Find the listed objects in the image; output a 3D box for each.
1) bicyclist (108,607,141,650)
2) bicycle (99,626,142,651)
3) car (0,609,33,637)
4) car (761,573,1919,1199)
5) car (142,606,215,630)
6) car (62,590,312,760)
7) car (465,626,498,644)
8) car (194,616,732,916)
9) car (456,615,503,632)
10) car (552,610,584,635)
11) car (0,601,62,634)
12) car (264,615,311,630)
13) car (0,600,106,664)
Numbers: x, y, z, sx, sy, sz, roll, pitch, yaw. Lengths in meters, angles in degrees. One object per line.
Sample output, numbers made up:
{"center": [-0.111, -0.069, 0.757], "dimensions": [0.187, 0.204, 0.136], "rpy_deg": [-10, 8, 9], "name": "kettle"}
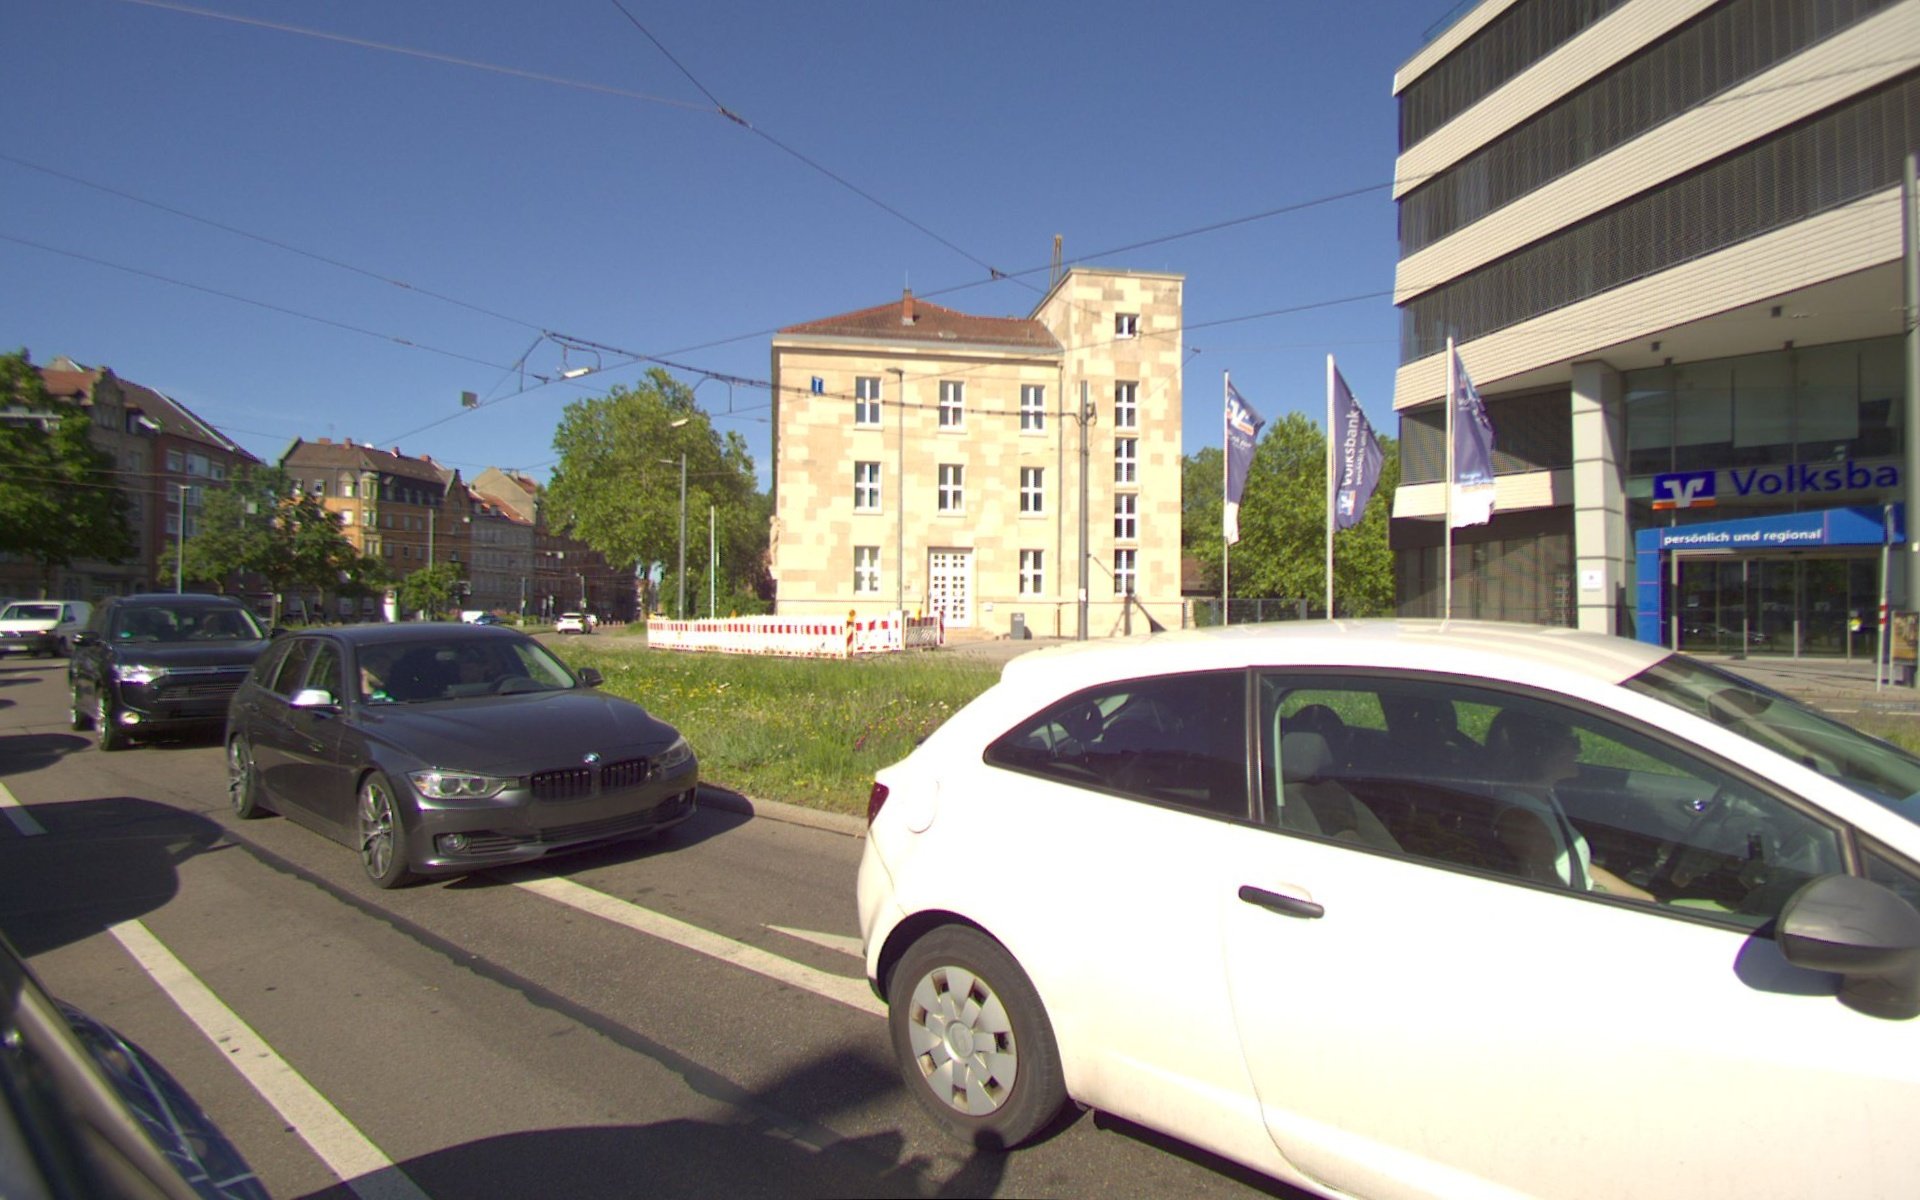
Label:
{"center": [-40.004, 1.359, 48.461], "dimensions": [0.835, 2.029, 1.200], "rpy_deg": [0, -1, -19], "name": "bicyclist"}
{"center": [-39.977, 1.814, 48.238], "dimensions": [0.751, 1.153, 2.290], "rpy_deg": [0, -1, -18], "name": "bicycle"}
{"center": [-48.767, 1.148, 50.392], "dimensions": [3.768, 1.390, 1.602], "rpy_deg": [2, -2, -41], "name": "car"}
{"center": [1.480, 0.691, 2.487], "dimensions": [4.020, 1.452, 1.714], "rpy_deg": [0, 2, 40], "name": "car"}
{"center": [-53.933, 1.269, 69.880], "dimensions": [3.771, 1.603, 1.601], "rpy_deg": [2, -2, -44], "name": "car"}
{"center": [-9.382, 0.769, 12.137], "dimensions": [1.817, 1.658, 4.400], "rpy_deg": [-1, -1, -45], "name": "car"}
{"center": [-46.849, 3.452, 99.143], "dimensions": [1.811, 1.659, 4.157], "rpy_deg": [1, -1, -10], "name": "car"}
{"center": [-3.599, 0.824, 6.886], "dimensions": [4.424, 1.377, 1.719], "rpy_deg": [-1, 0, 41], "name": "car"}
{"center": [-54.985, 2.705, 115.873], "dimensions": [4.525, 1.889, 2.001], "rpy_deg": [-1, 0, -1], "name": "car"}
{"center": [-26.994, 1.562, 69.792], "dimensions": [1.794, 1.658, 4.195], "rpy_deg": [0, -1, -18], "name": "car"}
{"center": [-49.932, 0.887, 52.798], "dimensions": [4.514, 1.680, 1.601], "rpy_deg": [2, -2, -43], "name": "car"}
{"center": [-74.583, 2.488, 112.277], "dimensions": [4.001, 1.669, 1.772], "rpy_deg": [1, -1, -16], "name": "car"}
{"center": [-31.891, 1.082, 35.244], "dimensions": [1.949, 2.101, 4.729], "rpy_deg": [1, -1, -24], "name": "car"}
